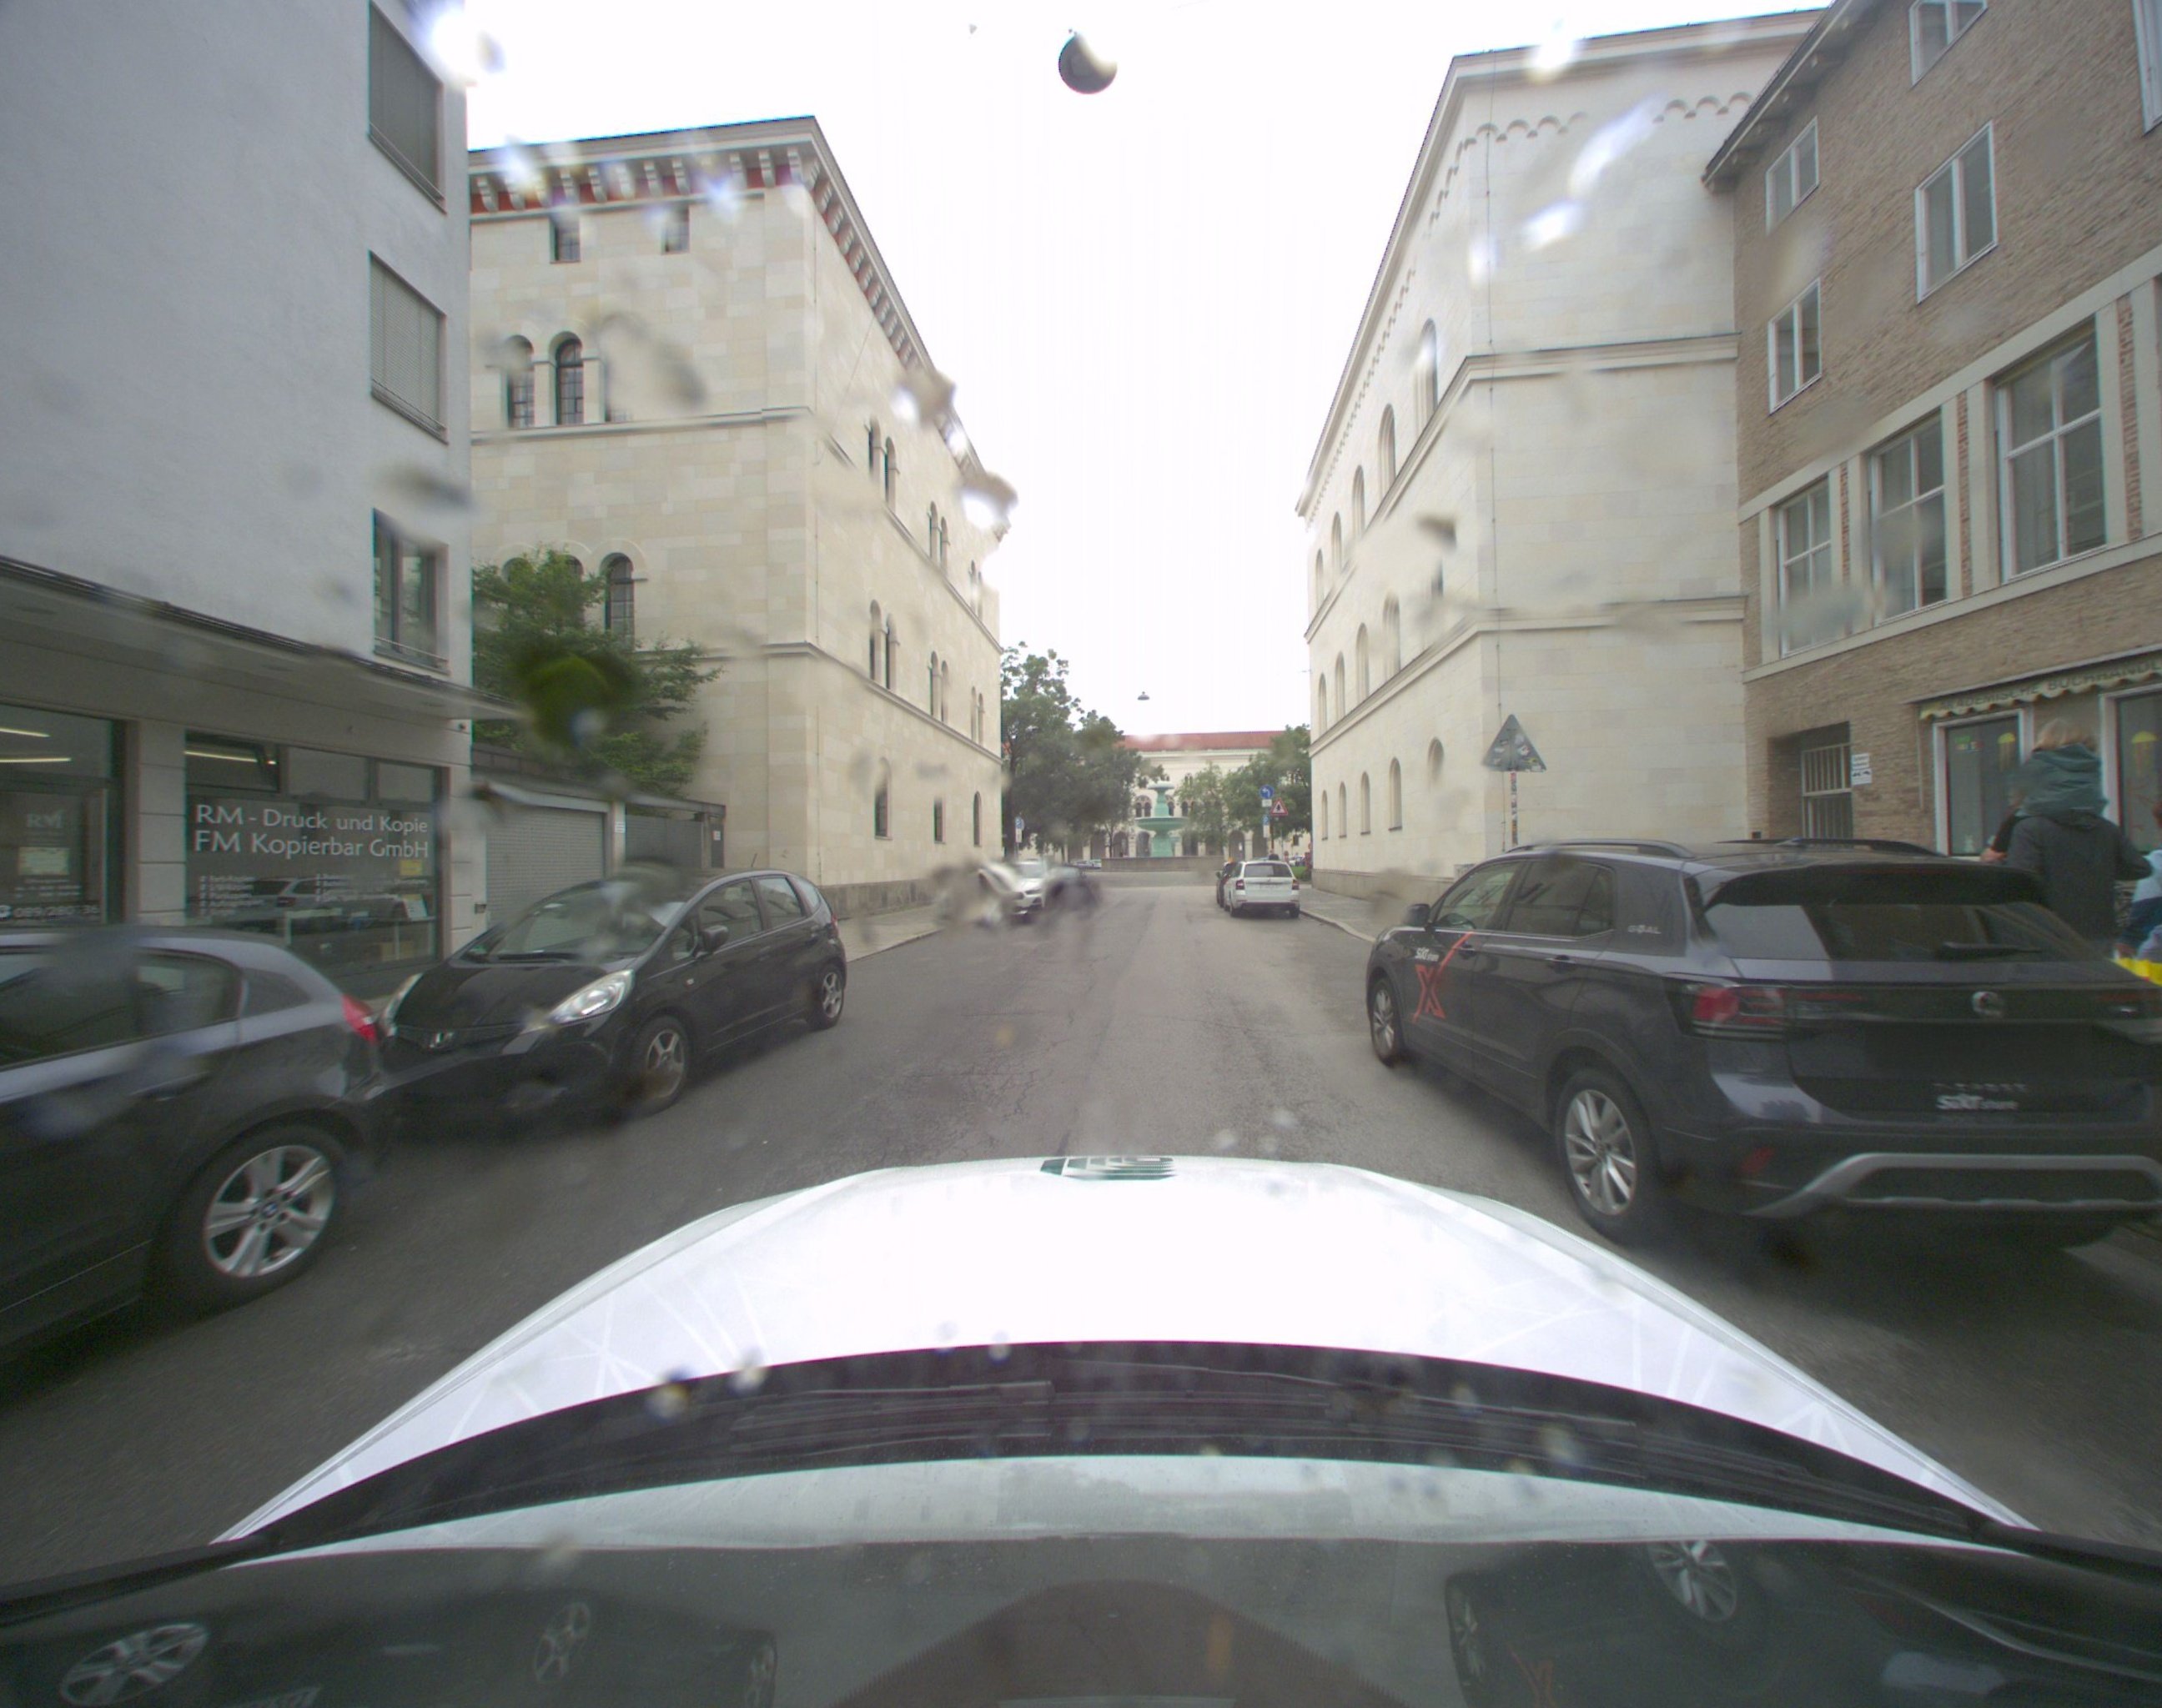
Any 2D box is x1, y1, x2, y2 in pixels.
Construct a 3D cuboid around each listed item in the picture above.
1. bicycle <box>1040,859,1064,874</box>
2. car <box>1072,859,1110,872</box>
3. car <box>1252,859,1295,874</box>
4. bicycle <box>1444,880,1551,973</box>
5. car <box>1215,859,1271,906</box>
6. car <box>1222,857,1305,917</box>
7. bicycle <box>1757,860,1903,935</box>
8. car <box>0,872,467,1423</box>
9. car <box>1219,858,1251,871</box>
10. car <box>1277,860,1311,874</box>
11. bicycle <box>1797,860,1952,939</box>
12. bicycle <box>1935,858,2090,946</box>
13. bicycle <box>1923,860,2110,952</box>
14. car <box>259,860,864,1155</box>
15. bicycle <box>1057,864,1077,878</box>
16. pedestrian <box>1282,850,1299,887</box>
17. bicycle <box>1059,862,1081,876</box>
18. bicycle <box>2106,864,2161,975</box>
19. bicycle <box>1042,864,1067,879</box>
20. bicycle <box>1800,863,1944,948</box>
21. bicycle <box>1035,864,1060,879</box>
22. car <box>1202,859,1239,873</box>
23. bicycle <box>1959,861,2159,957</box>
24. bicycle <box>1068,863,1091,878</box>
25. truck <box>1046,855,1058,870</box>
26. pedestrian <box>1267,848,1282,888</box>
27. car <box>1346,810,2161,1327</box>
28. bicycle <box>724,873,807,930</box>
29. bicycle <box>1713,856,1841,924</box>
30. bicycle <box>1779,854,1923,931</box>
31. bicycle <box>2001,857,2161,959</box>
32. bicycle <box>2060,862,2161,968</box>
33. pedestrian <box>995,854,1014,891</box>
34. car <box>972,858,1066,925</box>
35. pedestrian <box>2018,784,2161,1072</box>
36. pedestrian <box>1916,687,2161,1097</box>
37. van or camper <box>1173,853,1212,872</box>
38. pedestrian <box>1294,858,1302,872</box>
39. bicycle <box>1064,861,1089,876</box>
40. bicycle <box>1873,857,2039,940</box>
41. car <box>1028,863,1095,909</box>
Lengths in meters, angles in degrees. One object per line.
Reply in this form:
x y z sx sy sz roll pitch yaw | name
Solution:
-2.123 0.920 59.715 1.606 1.099 0.701 0 0 17 | bicycle
1.127 1.290 90.457 3.968 1.376 2.003 -1 0 4 | car
20.805 1.340 88.246 4.333 1.524 1.807 -1 0 7 | car
5.255 0.878 10.376 0.347 1.042 1.632 -3 -1 -5 | bicycle
5.257 0.885 26.747 1.532 1.426 3.779 -1 -1 7 | car
4.818 0.820 21.990 1.780 1.476 4.321 0 0 7 | car
10.968 0.636 11.955 1.620 1.042 0.349 -2 -1 10 | bicycle
-3.875 0.863 1.793 1.743 1.453 4.020 -2 0 4 | car
20.223 1.352 106.853 3.968 1.750 1.811 0 0 5 | car
27.711 1.715 105.950 4.080 1.741 1.748 0 0 2 | car
11.076 0.635 11.400 1.620 1.042 0.349 -2 -1 10 | bicycle
11.710 0.598 10.254 1.422 1.042 0.349 -2 -1 4 | bicycle
11.233 0.622 9.806 1.620 1.042 0.349 -2 -1 8 | bicycle
-3.321 0.843 6.320 1.741 1.453 4.023 -2 0 6 | car
-1.051 1.299 61.919 1.390 1.099 0.659 0 0 17 | bicycle
9.446 0.646 36.701 0.618 1.681 0.545 0 0 0 | pedestrian
-0.834 1.138 62.717 1.523 1.019 0.701 0 0 17 | bicycle
11.044 0.611 7.848 1.620 1.042 0.349 -2 -1 8 | bicycle
-1.886 1.230 57.693 1.606 1.099 0.701 0 0 17 | bicycle
10.262 0.662 10.582 1.422 1.042 0.349 -2 -1 4 | bicycle
-2.313 1.209 56.121 1.606 1.035 0.701 0 0 17 | bicycle
15.285 1.273 89.181 3.964 1.403 1.829 -1 0 8 | car
11.185 0.627 9.344 1.620 1.042 0.349 -2 -1 8 | bicycle
-0.090 1.231 60.798 1.606 1.099 0.619 0 0 17 | bicycle
-5.255 1.505 146.190 1.990 2.489 3.993 0 0 -5 | truck
8.655 0.626 36.436 0.637 1.808 0.490 -1 0 11 | pedestrian
2.912 0.677 4.507 1.740 1.594 3.958 0 -1 2 | car
-6.785 1.029 17.516 1.699 1.178 0.478 -2 -1 15 | bicycle
11.396 0.590 13.370 1.620 1.042 0.349 -2 -1 10 | bicycle
11.593 0.576 12.291 1.620 1.094 0.349 -2 -1 10 | bicycle
11.103 0.584 8.831 1.620 1.042 0.349 -2 -1 8 | bicycle
11.124 0.608 8.304 1.620 1.042 0.349 -2 -1 8 | bicycle
-3.708 0.899 39.456 0.751 1.749 0.690 -2 0 4 | pedestrian
-1.532 0.935 21.699 1.769 1.535 4.217 -2 -1 5 | car
6.698 0.426 5.062 0.851 1.693 0.755 -2 0 18 | pedestrian
5.765 0.210 4.811 0.786 2.197 0.817 -3 -1 20 | pedestrian
13.741 1.043 100.483 4.560 2.014 2.002 -4 -2 3 | van or camper
21.774 1.105 81.620 0.576 1.465 0.551 -1 0 29 | pedestrian
-0.314 1.087 60.068 1.696 1.099 0.701 0 0 17 | bicycle
11.615 0.595 10.840 1.620 1.042 0.349 -2 -1 8 | bicycle
-0.584 1.057 27.897 1.690 1.393 4.219 -2 -1 6 | car
